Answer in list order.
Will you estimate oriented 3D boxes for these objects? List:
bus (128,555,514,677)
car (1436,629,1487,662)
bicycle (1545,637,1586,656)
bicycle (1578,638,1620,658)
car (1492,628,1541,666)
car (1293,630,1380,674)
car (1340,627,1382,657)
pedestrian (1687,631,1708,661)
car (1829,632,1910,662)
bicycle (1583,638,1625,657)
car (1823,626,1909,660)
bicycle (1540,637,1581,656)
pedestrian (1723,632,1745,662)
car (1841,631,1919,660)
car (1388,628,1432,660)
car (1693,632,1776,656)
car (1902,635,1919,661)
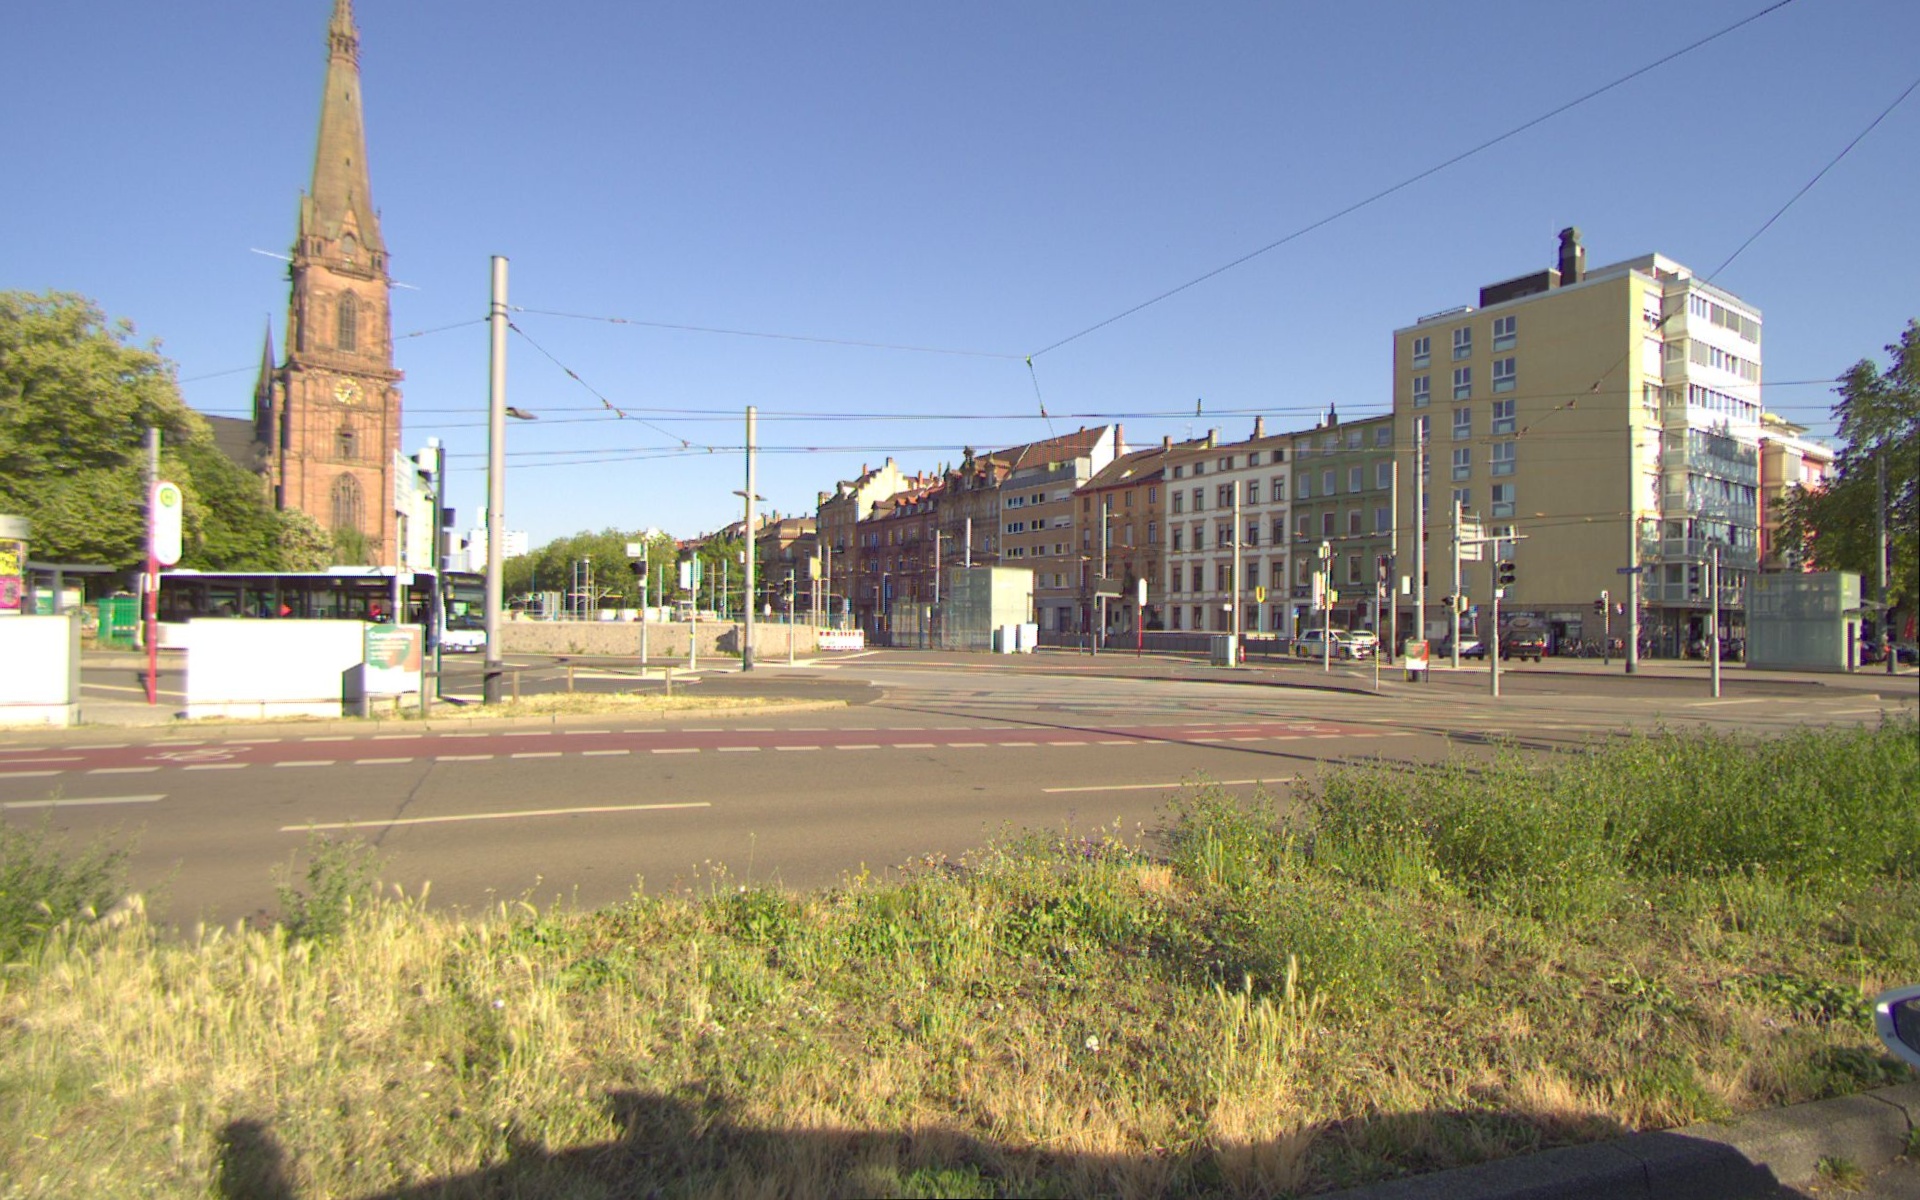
[{"bbox_3d":[-21.895,0.568,34.590,11.940,3.359,3.254,3,-4,10],"label":"bus"},{"bbox_3d":[29.281,2.622,58.778,1.802,1.771,4.002,-1,0,13],"label":"car"},{"bbox_3d":[37.638,2.870,62.446,0.769,1.104,2.029,2,-2,-34],"label":"bicycle"},{"bbox_3d":[38.204,2.865,60.083,0.769,1.104,2.029,2,-2,-34],"label":"bicycle"},{"bbox_3d":[31.155,2.594,56.328,1.816,1.882,3.999,0,0,20],"label":"car"},{"bbox_3d":[19.074,2.588,51.017,1.980,2.040,3.710,-1,0,-35],"label":"car"},{"bbox_3d":[25.702,2.672,64.519,2.045,1.742,4.011,-1,0,15],"label":"car"},{"bbox_3d":[43.038,2.671,58.646,0.774,1.698,0.771,1,-1,-33],"label":"pedestrian"},{"bbox_3d":[61.127,3.130,67.620,3.940,1.882,1.844,-1,0,40],"label":"car"},{"bbox_3d":[38.861,2.858,60.610,0.769,1.104,2.029,2,-2,-34],"label":"bicycle"},{"bbox_3d":[57.531,2.686,63.864,3.940,2.040,1.991,0,-2,40],"label":"car"},{"bbox_3d":[36.981,2.877,61.875,0.769,1.104,2.029,2,-2,-34],"label":"bicycle"},{"bbox_3d":[43.893,2.657,56.971,0.774,1.698,0.771,1,-1,-33],"label":"pedestrian"},{"bbox_3d":[64.688,3.146,70.689,3.940,1.882,1.844,-1,0,40],"label":"car"},{"bbox_3d":[27.498,2.654,61.461,1.802,1.742,4.001,-1,0,15],"label":"car"},{"bbox_3d":[50.349,2.823,65.362,1.797,1.441,3.957,2,-2,-37],"label":"car"},{"bbox_3d":[56.802,2.808,58.517,3.956,1.471,1.837,2,-1,-32],"label":"car"}]
